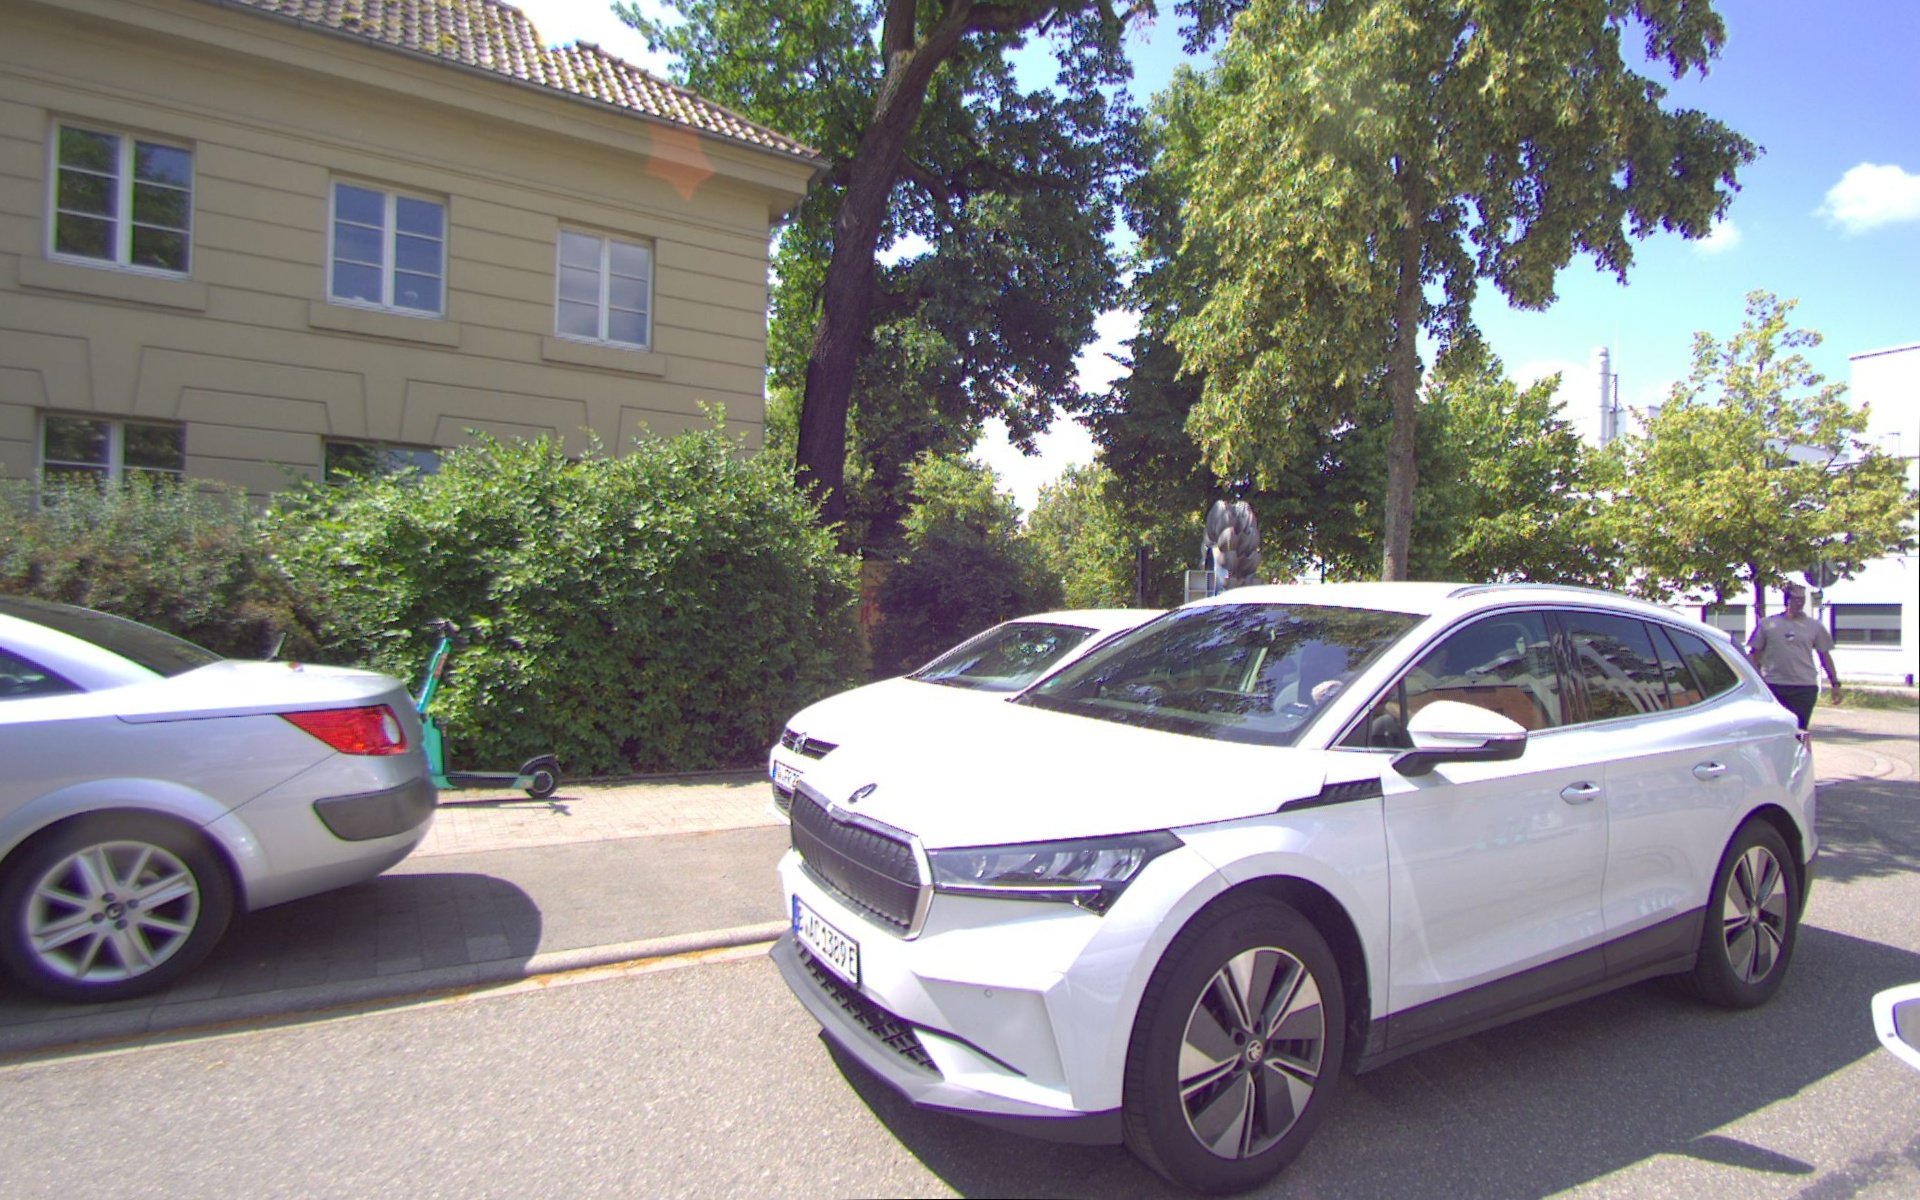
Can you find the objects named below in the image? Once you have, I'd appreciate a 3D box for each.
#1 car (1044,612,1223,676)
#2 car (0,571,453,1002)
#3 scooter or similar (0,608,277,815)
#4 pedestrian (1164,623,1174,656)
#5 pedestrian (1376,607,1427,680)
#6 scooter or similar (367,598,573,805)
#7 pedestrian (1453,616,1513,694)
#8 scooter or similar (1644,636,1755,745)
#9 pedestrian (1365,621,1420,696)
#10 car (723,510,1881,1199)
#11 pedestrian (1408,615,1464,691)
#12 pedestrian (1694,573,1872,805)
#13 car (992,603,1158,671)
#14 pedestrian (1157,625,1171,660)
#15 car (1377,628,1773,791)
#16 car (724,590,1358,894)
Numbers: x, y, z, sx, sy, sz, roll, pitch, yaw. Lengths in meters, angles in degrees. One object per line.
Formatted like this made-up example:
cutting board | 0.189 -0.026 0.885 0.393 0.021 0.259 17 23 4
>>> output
car | 4.542 1.152 26.124 4.388 1.536 1.919 1 -4 -30
car | -4.149 0.568 3.612 4.113 1.362 1.718 2 1 -28
scooter or similar | -4.962 0.664 6.109 1.205 1.187 0.471 2 -1 -10
pedestrian | 12.971 2.451 62.334 0.528 2.040 0.495 2 0 17
pedestrian | 11.019 1.065 25.079 0.838 1.774 0.853 0 -1 -7
scooter or similar | -3.338 0.663 6.887 1.214 1.304 0.522 1 -3 -30
pedestrian | 11.935 1.242 22.943 0.840 1.731 0.851 0 -1 -14
scooter or similar | 9.278 1.115 12.609 1.196 1.316 0.504 1 -2 -18
pedestrian | 10.179 1.360 23.652 0.841 1.731 0.851 0 -1 -17
car | 1.549 0.697 4.048 4.468 1.640 1.908 3 1 -31
pedestrian | 11.164 1.230 23.566 0.840 1.731 0.852 0 -1 -13
pedestrian | 7.481 0.758 9.133 1.169 1.928 1.006 3 -1 -39
car | 3.271 1.072 28.420 4.388 1.792 1.919 1 -4 -30
pedestrian | 12.052 2.497 59.433 0.677 2.040 0.684 2 0 17
car | 6.106 0.972 9.902 3.879 1.318 1.638 2 -2 -29
car | 0.588 0.720 6.435 3.762 1.430 1.654 2 0 -30
